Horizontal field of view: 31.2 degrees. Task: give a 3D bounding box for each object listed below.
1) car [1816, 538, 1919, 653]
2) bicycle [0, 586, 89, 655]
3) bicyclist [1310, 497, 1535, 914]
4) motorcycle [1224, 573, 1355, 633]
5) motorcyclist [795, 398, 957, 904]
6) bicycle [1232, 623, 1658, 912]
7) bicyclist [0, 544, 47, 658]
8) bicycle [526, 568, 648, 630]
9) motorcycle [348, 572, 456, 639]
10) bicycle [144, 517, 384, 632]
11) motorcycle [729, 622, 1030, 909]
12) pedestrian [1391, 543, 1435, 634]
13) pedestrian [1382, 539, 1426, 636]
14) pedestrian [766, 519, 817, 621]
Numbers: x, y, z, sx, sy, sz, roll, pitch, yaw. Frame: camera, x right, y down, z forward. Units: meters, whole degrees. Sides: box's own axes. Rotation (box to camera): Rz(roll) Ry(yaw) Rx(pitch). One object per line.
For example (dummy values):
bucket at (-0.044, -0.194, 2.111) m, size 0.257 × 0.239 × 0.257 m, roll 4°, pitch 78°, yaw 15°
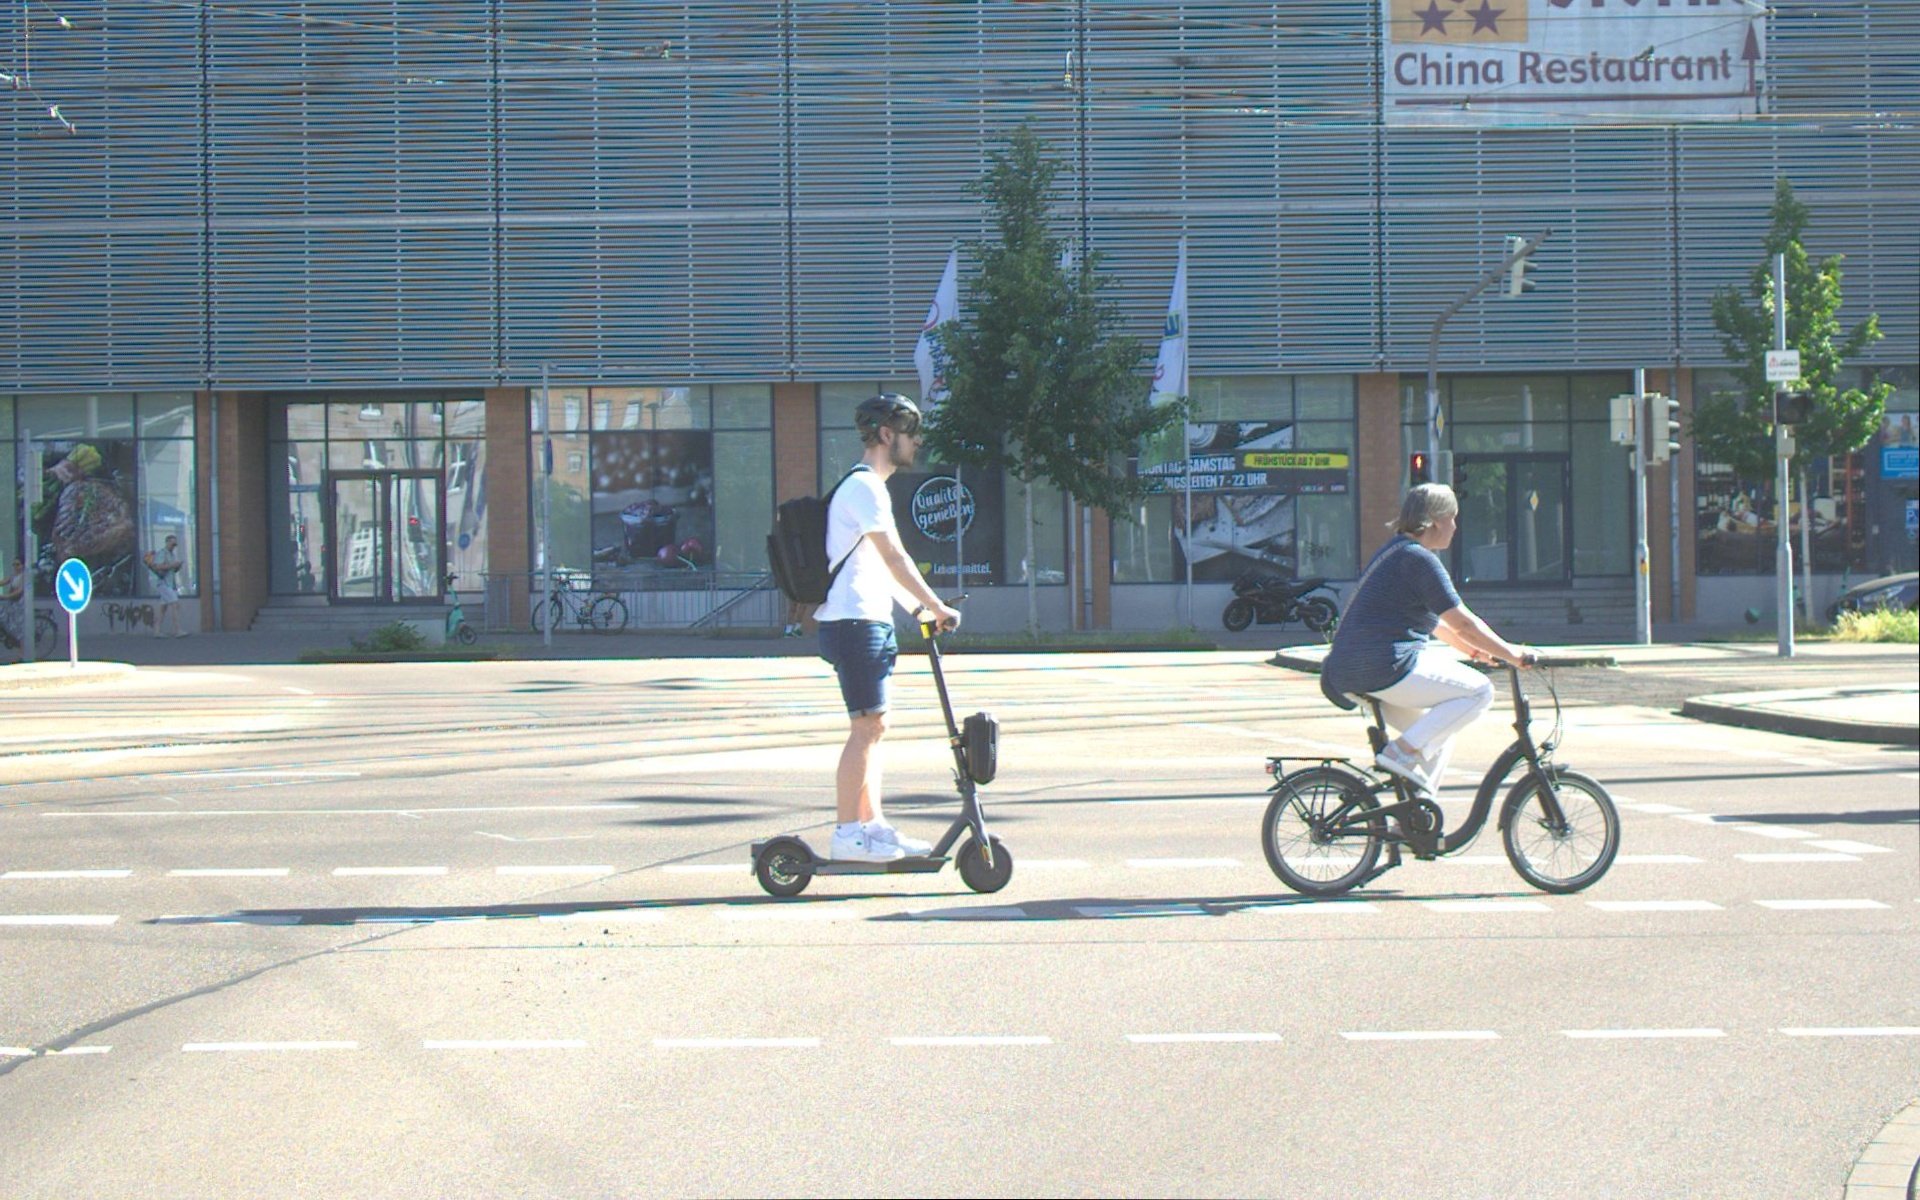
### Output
car at (13.813, -0.091, 45.660) m, size 4.487 × 1.489 × 1.495 m, roll -1°, pitch 1°, yaw 0°
bicycle at (-15.140, 0.326, 54.696) m, size 2.238 × 1.067 × 1.046 m, roll -1°, pitch 1°, yaw -41°
bicyclist at (1.864, 0.412, 13.942) m, size 0.782 × 1.643 × 0.690 m, roll -1°, pitch 1°, yaw -2°
motorcycle at (5.828, 0.048, 60.887) m, size 2.202 × 1.039 × 1.061 m, roll 0°, pitch 1°, yaw 0°
motorcyclist at (-0.334, 0.199, 13.914) m, size 0.628 × 2.007 × 0.497 m, roll 0°, pitch 1°, yaw 0°
bicycle at (1.936, 0.662, 13.875) m, size 1.576 × 1.103 × 0.734 m, roll 1°, pitch 1°, yaw -2°
bicyclist at (-15.127, 0.012, 54.717) m, size 0.843 × 1.797 × 0.816 m, roll -1°, pitch 1°, yaw -42°
bicycle at (-6.552, -0.018, 60.562) m, size 2.026 × 1.055 × 1.145 m, roll -1°, pitch 1°, yaw -1°
motorcycle at (-9.068, 0.091, 55.898) m, size 1.652 × 1.055 × 0.497 m, roll -1°, pitch 1°, yaw 9°
bicycle at (-12.341, -0.467, 61.065) m, size 3.987 × 2.007 × 1.330 m, roll 0°, pitch 1°, yaw 0°
motorcycle at (-0.321, 0.659, 13.905) m, size 1.186 × 1.117 × 0.483 m, roll -1°, pitch 1°, yaw -1°
pedestrian at (7.283, -0.186, 55.292) m, size 0.589 × 1.457 × 0.658 m, roll -1°, pitch 1°, yaw -1°
pedestrian at (7.031, -0.206, 54.491) m, size 0.589 × 1.529 × 0.658 m, roll -1°, pitch 1°, yaw -1°
pedestrian at (-2.920, -0.520, 59.519) m, size 0.848 × 1.757 × 0.620 m, roll -1°, pitch 1°, yaw -1°
